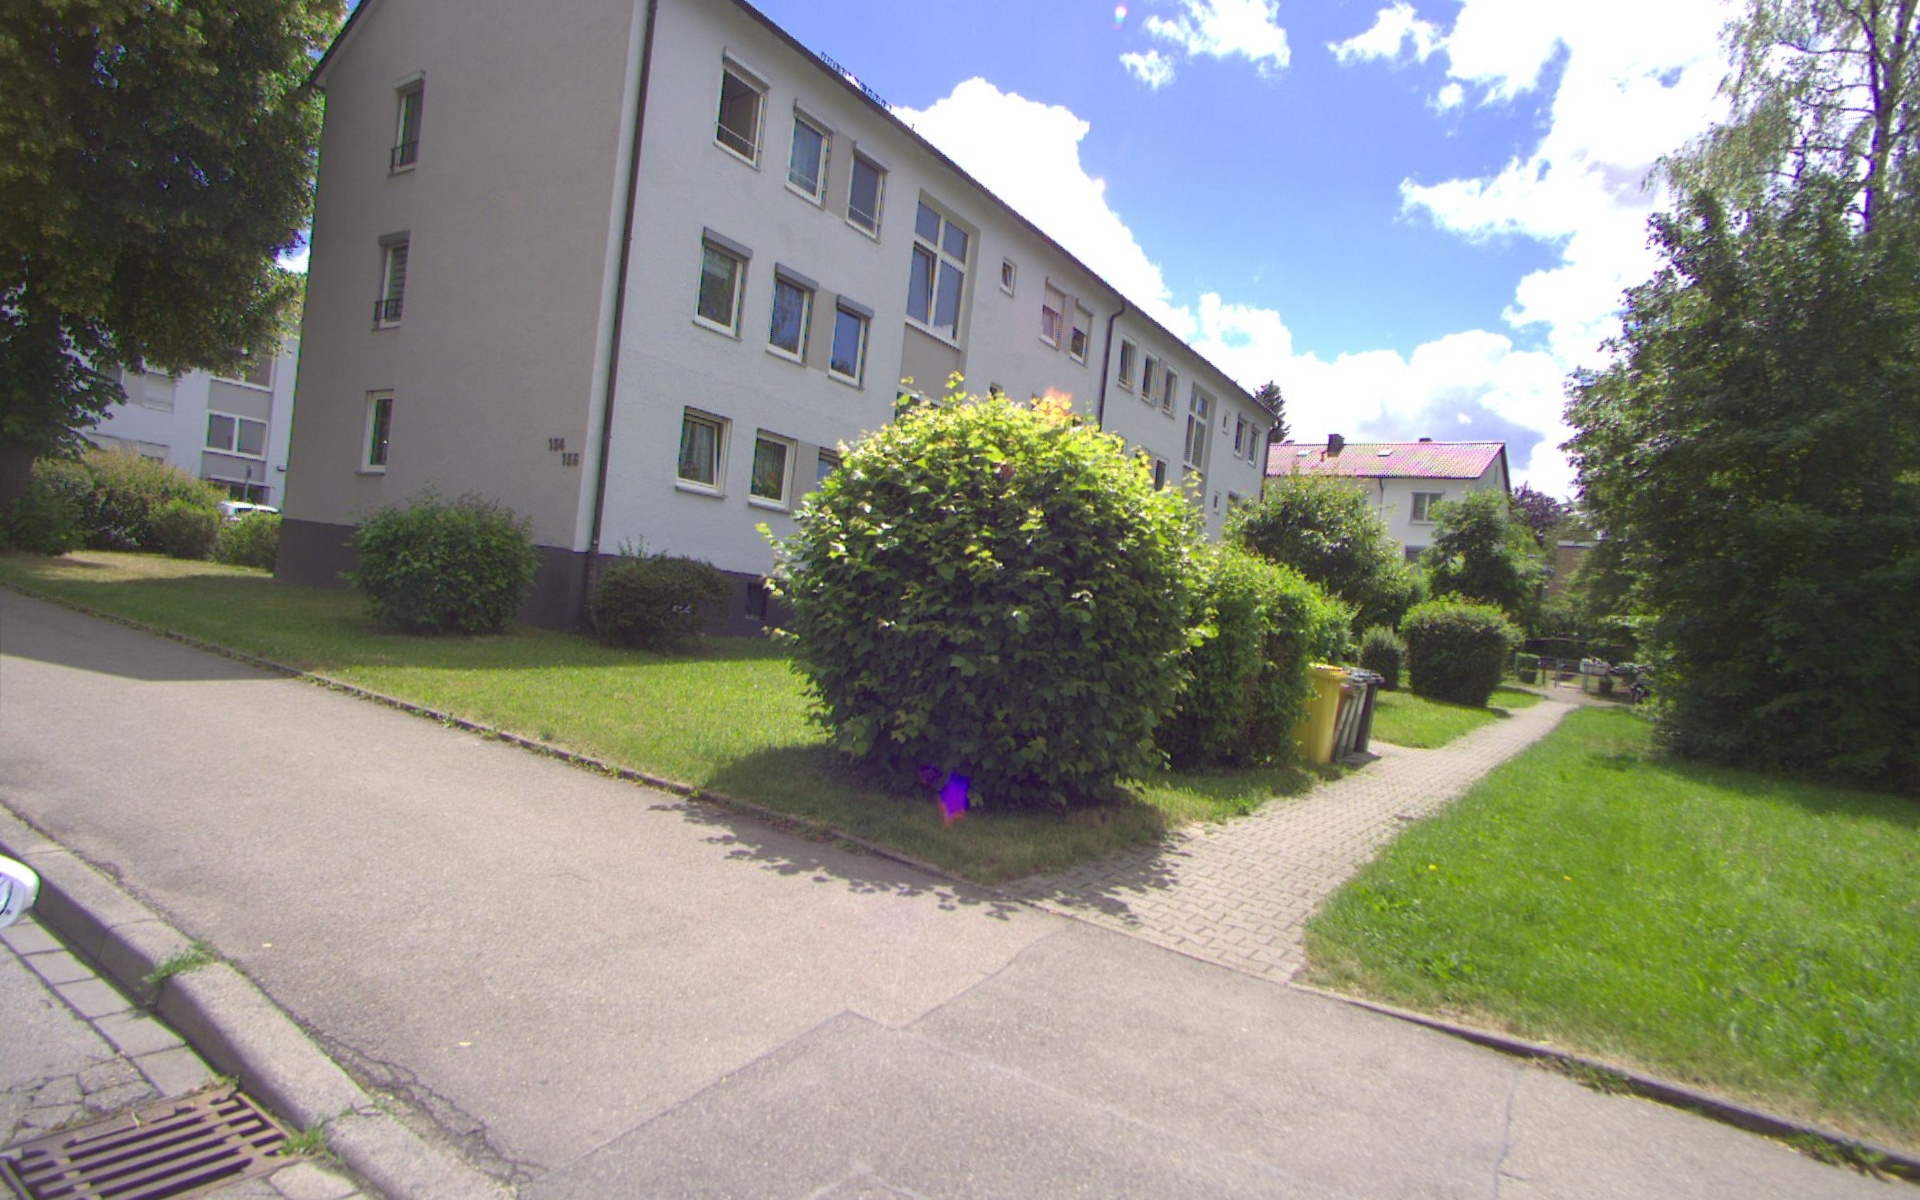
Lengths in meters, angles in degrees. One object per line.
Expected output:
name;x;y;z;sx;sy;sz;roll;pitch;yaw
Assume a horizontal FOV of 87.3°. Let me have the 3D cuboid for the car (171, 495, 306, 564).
car;-19.719;-1.927;27.455;3.682;1.432;1.678;6;-2;34
